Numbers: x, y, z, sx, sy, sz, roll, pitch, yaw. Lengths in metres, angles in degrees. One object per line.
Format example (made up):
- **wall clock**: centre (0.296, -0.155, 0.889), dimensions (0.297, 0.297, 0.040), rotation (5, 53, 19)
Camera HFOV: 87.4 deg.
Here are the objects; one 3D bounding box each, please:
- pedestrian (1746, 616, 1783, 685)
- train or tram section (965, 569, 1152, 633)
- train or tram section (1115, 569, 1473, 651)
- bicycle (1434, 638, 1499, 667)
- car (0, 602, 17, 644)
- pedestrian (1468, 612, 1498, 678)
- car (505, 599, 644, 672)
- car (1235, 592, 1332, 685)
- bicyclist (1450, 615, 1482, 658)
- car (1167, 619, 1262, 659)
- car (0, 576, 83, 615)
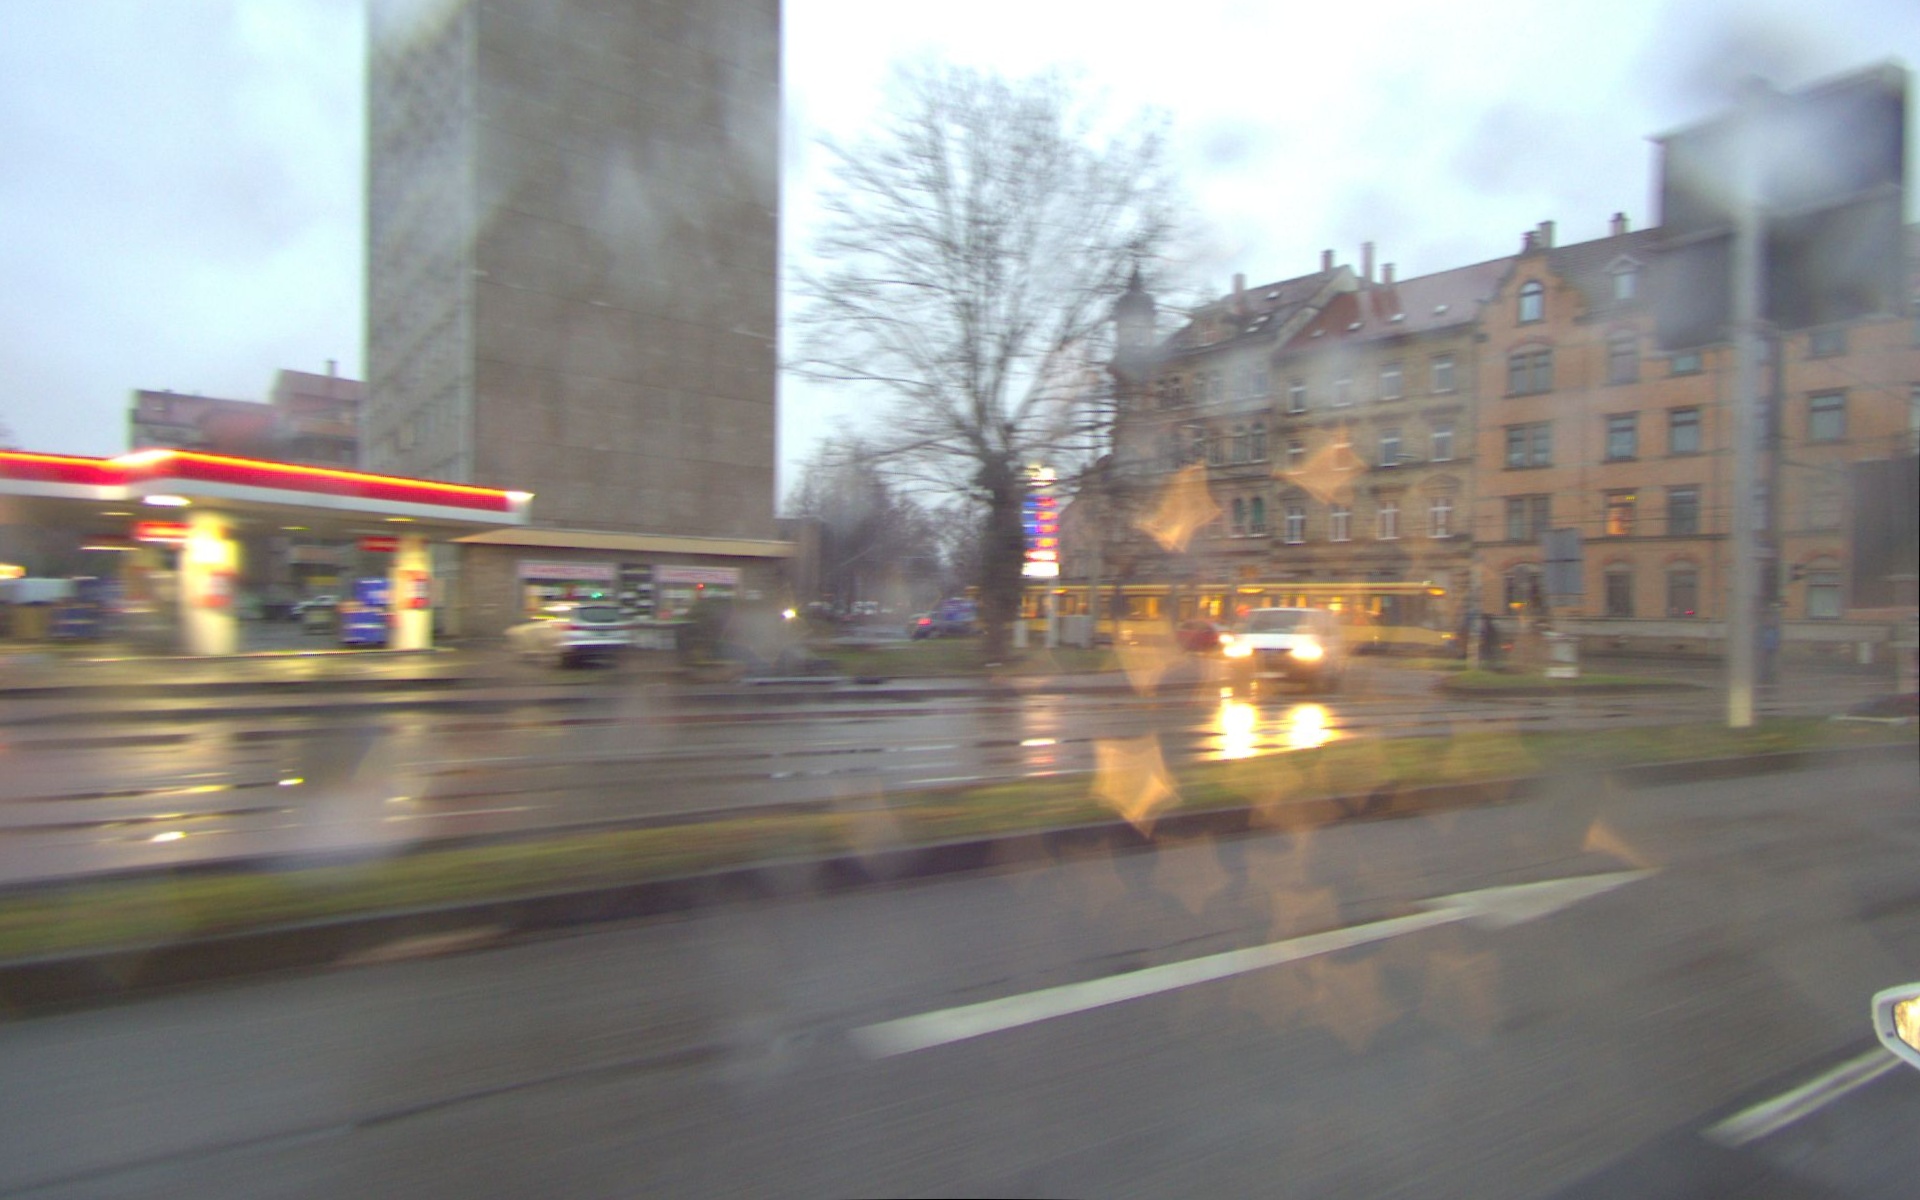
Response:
- **pedestrian**: centre (21.371, 1.330, 26.680), dimensions (0.618, 1.795, 0.467), rotation (1, 0, -14)
- **train or tram section**: centre (5.270, -0.054, 56.339), dimensions (3.148, 3.281, 11.004), rotation (1, 1, -44)
- **train or tram section**: centre (14.648, 0.244, 46.550), dimensions (3.148, 3.231, 16.095), rotation (1, 1, -44)
- **bicycle**: centre (17.333, 1.785, 34.416), dimensions (1.948, 0.912, 0.506), rotation (1, 1, 27)
- **car**: centre (-34.000, 0.721, 33.161), dimensions (3.965, 1.399, 1.940), rotation (1, -1, -39)
- **pedestrian**: centre (14.816, 1.263, 28.464), dimensions (0.619, 1.816, 0.529), rotation (1, 1, 42)
- **car**: centre (-9.049, 0.779, 23.409), dimensions (1.766, 1.550, 3.952), rotation (1, -1, -41)
- **car**: centre (7.684, 0.923, 23.775), dimensions (1.960, 1.971, 4.856), rotation (-1, -3, 19)
- **bicyclist**: centre (17.345, 1.245, 34.408), dimensions (0.951, 1.409, 0.506), rotation (1, 1, 27)
- **car**: centre (10.186, 1.553, 40.528), dimensions (1.628, 1.469, 3.825), rotation (1, 0, -26)
- **car**: centre (-52.751, -0.237, 57.315), dimensions (3.966, 2.140, 1.978), rotation (1, -1, -39)
